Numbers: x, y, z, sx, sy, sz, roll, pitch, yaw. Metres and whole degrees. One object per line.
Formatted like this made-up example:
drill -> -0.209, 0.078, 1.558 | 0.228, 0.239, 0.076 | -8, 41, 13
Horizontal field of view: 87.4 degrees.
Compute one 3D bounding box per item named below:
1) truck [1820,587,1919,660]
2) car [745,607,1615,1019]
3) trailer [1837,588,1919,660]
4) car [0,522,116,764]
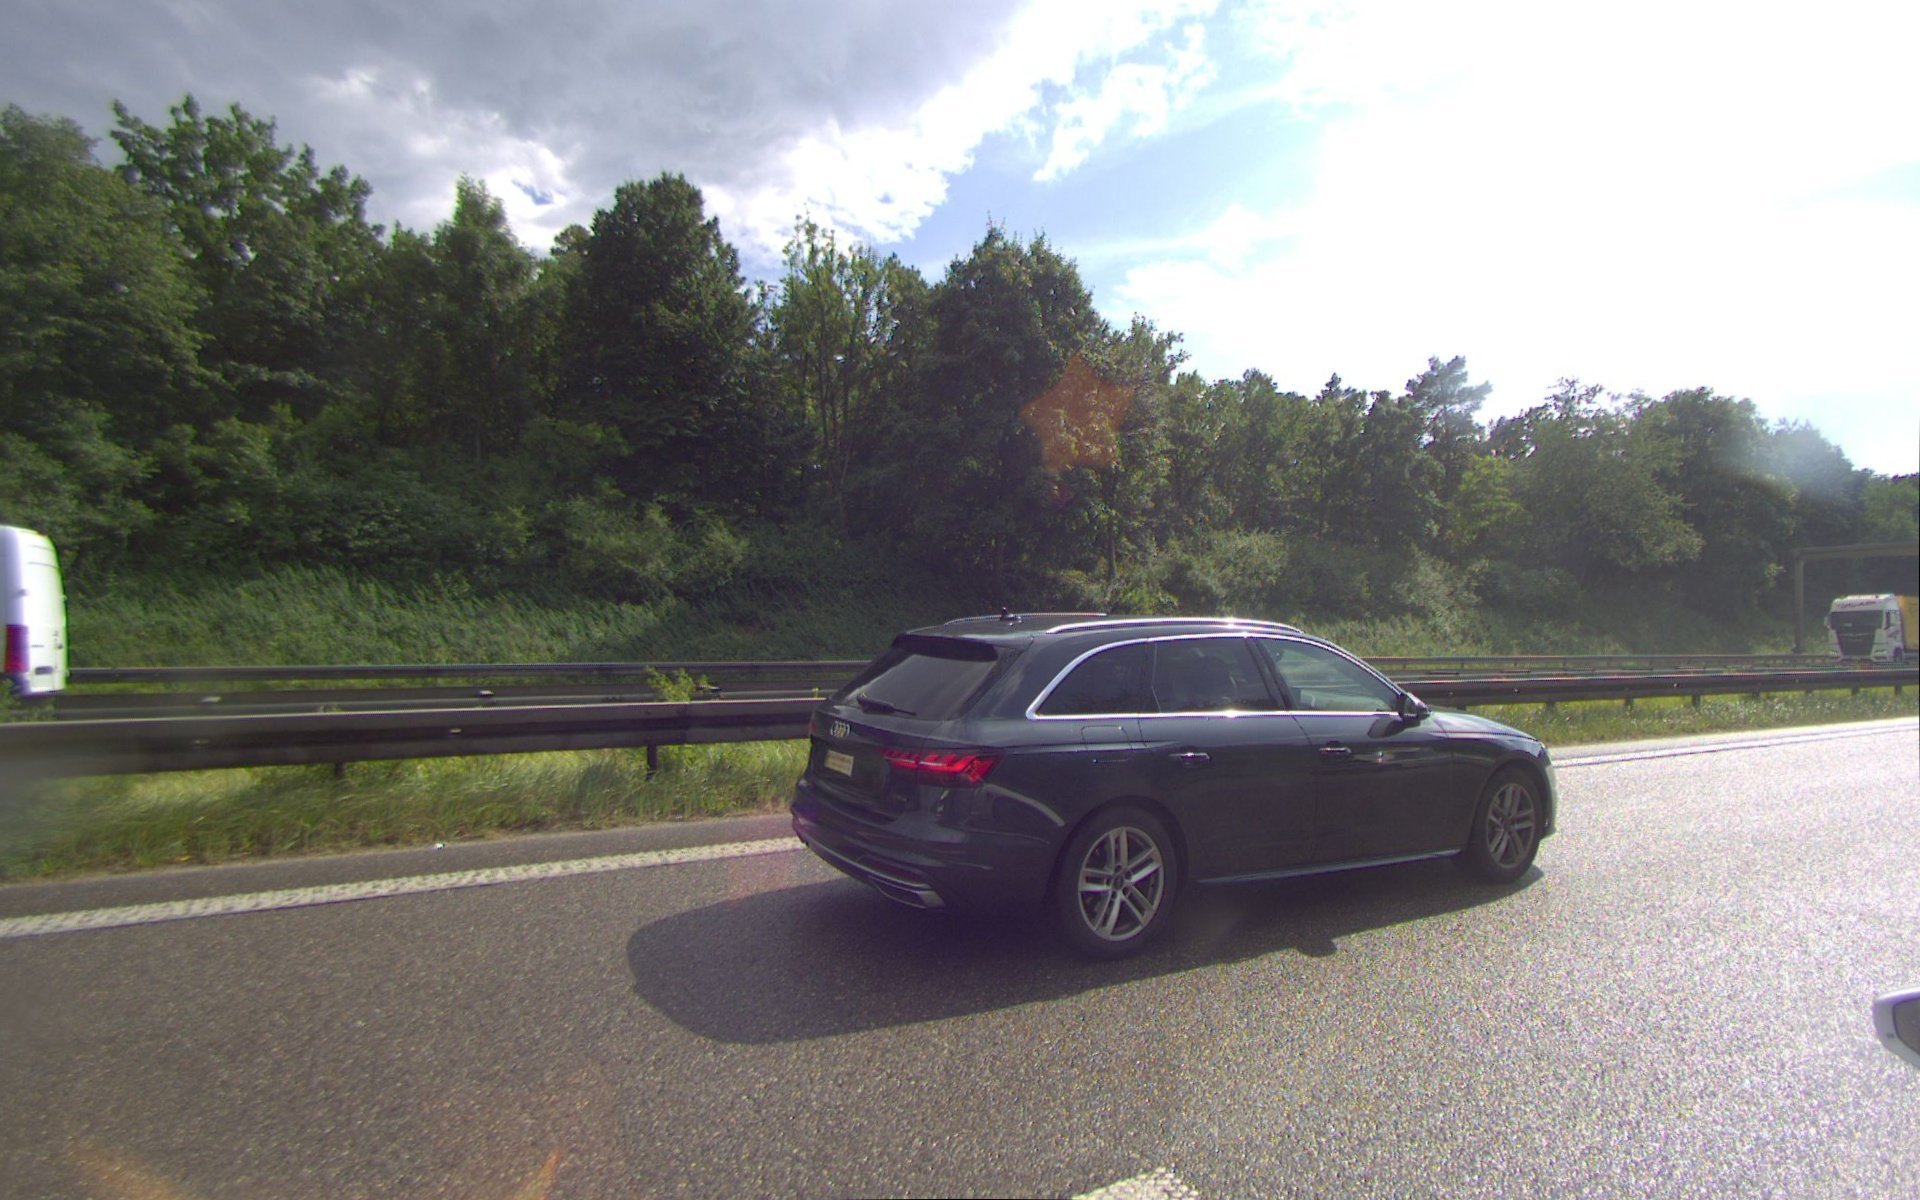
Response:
truck -> 48.665, 1.243, 53.537 | 5.269, 3.713, 2.709 | 2, 0, -30
car -> 1.416, 0.824, 5.577 | 4.783, 1.437, 1.785 | 2, 0, -31
trailer -> 55.357, 1.440, 57.505 | 16.483, 3.693, 2.709 | 2, 0, -31
car -> -14.445, 0.440, 11.698 | 6.710, 2.908, 2.251 | 2, 0, -31
